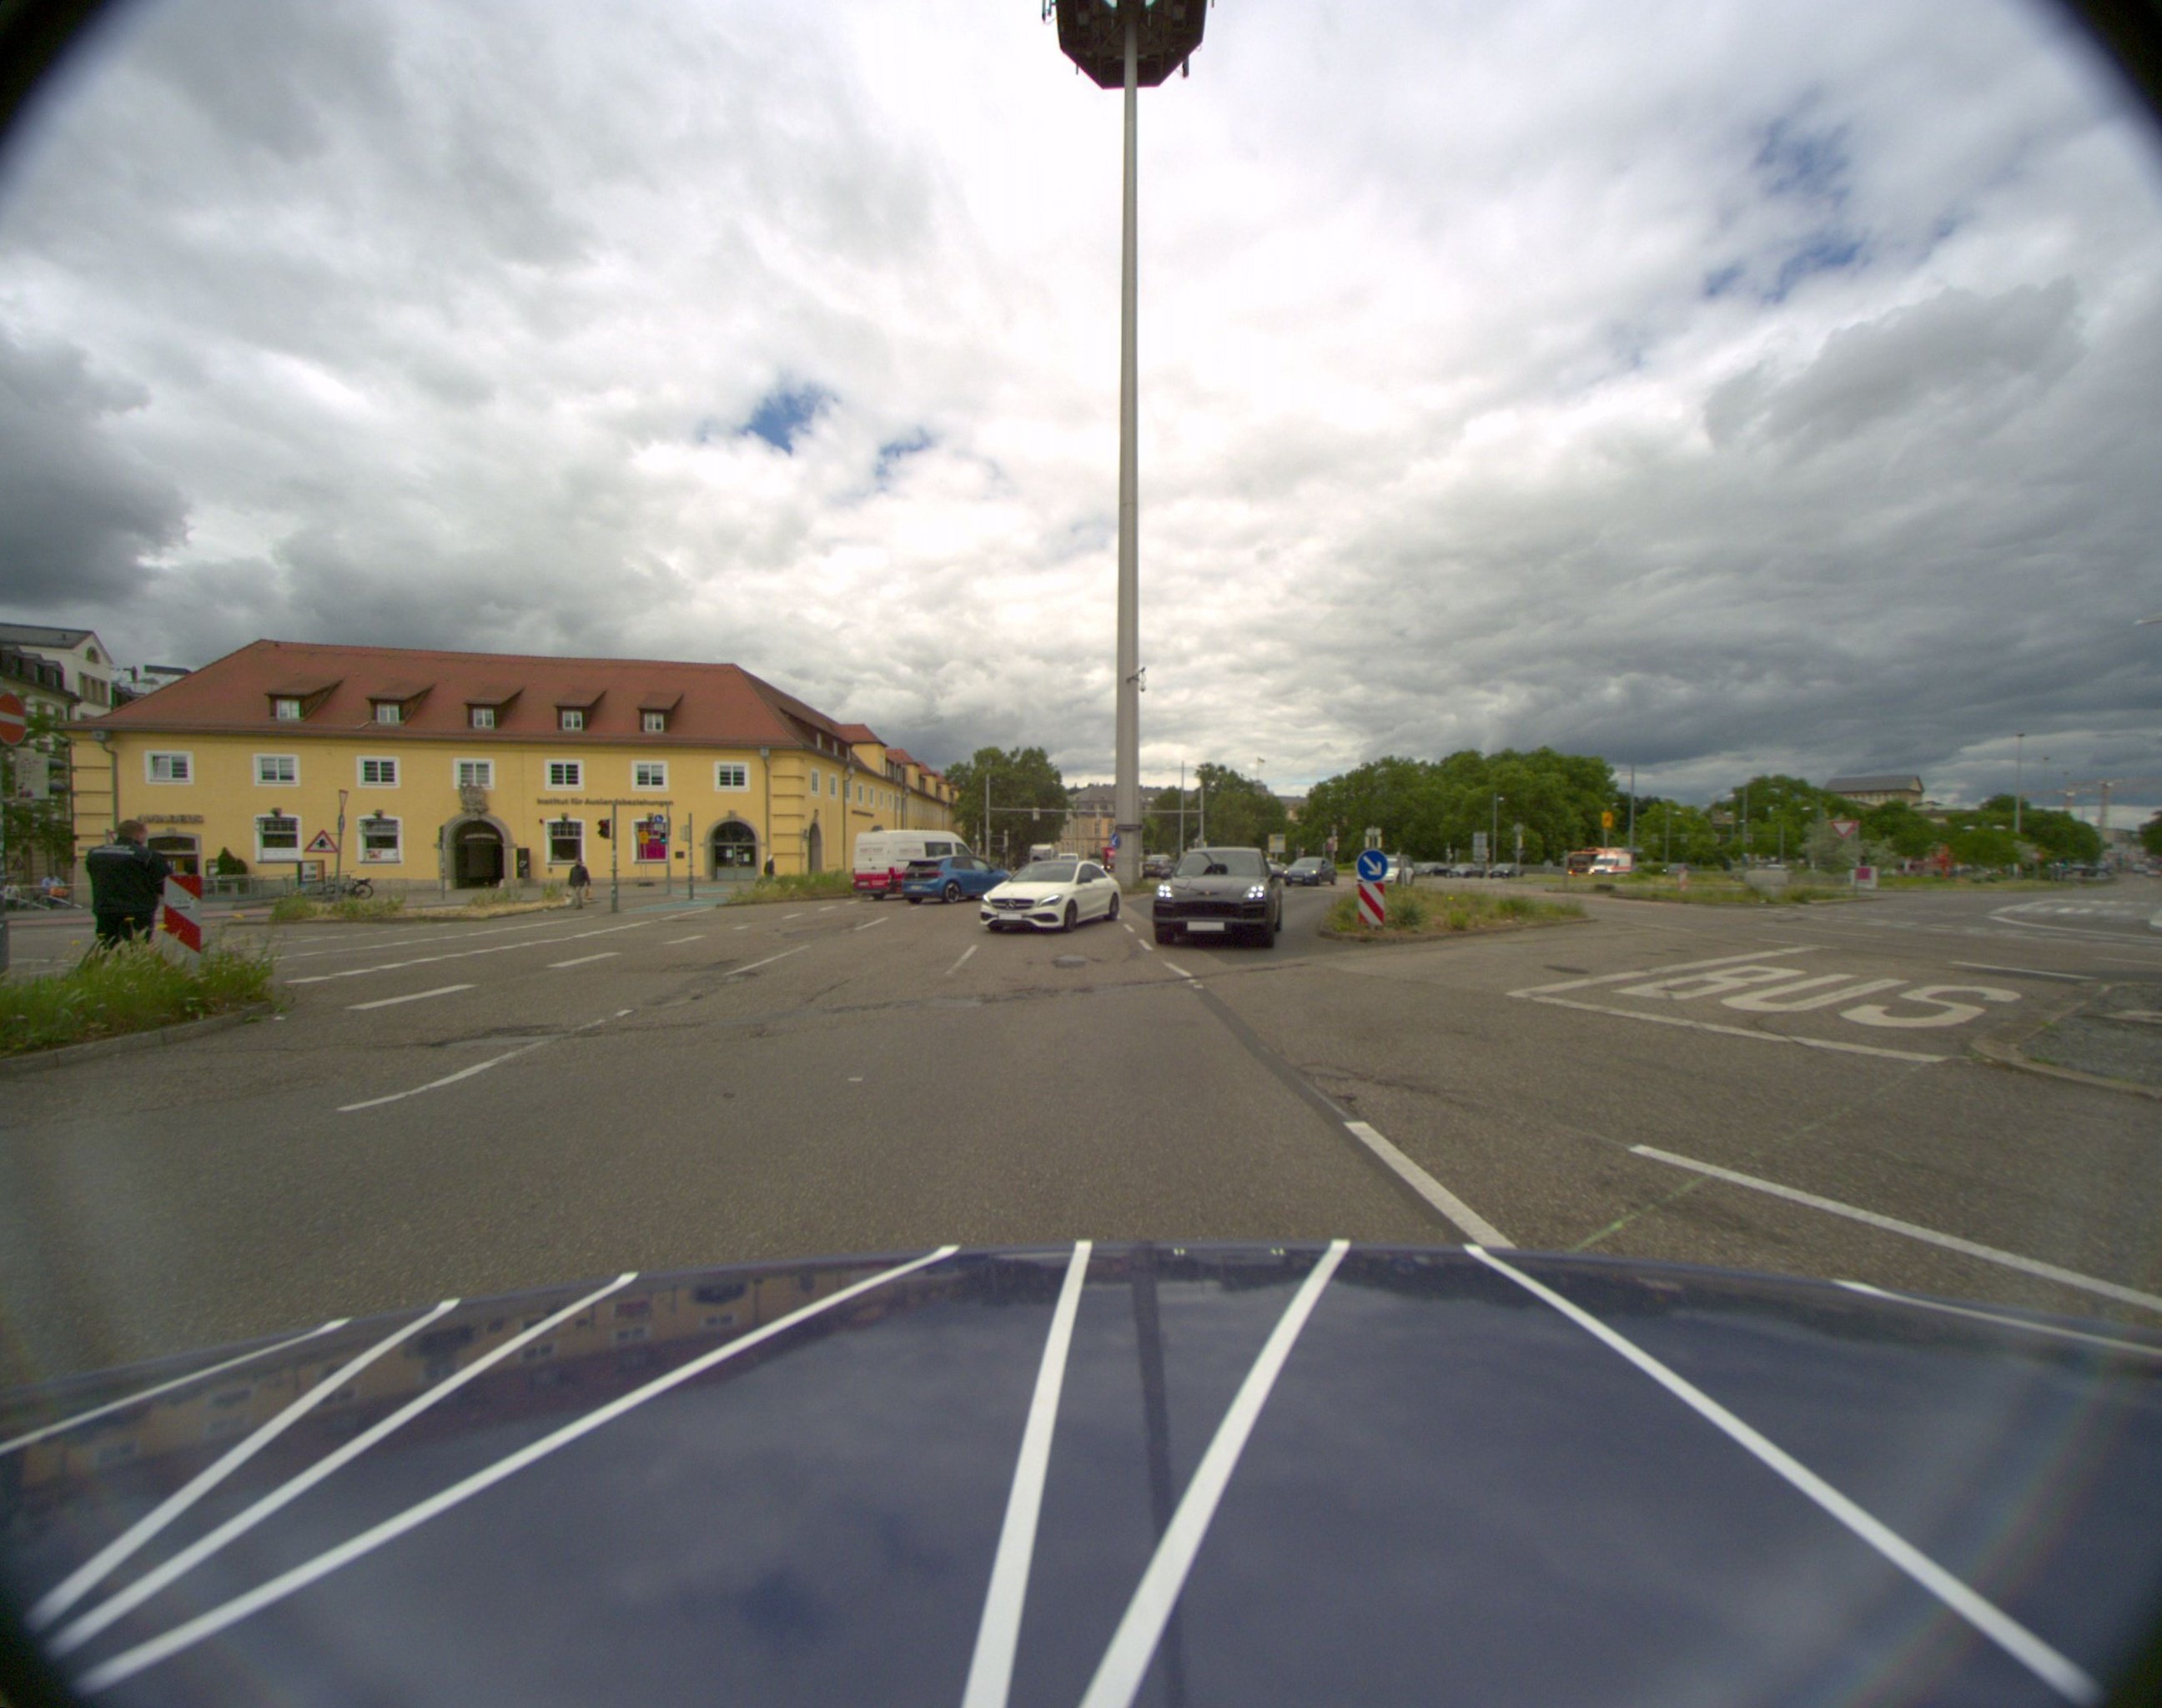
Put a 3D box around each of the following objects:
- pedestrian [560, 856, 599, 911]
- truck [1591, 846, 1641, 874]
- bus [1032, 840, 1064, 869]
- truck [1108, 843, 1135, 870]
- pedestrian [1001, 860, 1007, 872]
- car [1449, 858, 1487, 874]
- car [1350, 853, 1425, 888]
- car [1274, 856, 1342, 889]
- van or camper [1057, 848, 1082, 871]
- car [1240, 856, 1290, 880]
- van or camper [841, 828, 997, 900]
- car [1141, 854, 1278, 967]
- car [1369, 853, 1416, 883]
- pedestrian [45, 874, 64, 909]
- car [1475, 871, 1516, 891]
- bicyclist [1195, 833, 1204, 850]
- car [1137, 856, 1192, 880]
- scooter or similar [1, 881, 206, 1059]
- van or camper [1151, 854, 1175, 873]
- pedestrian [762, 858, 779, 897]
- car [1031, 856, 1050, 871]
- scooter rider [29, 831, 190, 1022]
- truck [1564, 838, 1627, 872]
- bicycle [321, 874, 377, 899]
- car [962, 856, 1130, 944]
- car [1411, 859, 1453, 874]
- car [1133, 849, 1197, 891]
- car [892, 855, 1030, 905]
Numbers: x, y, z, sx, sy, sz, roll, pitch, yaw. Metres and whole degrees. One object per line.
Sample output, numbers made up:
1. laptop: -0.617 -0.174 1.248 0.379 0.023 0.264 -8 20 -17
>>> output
1. pedestrian: -16.535 0.960 25.069 0.828 1.779 0.751 -1 1 -16
2. truck: 54.190 0.583 76.942 5.799 2.767 1.952 0 0 -32
3. bus: -4.106 0.107 90.703 3.434 3.185 13.057 0 0 -4
4. truck: 5.294 0.378 101.825 2.791 3.469 8.348 0 0 -3
5. pedestrian: -9.002 1.380 88.538 0.681 1.372 0.579 0 0 -5
6. car: 37.142 1.148 72.957 3.590 1.455 1.773 -1 1 -36
7. car: 15.127 0.774 37.365 2.091 1.599 4.421 -1 -1 41
8. car: 11.708 0.916 39.050 1.994 1.592 4.008 0 0 38
9. van or camper: -1.075 0.553 76.340 2.373 2.249 6.288 0 0 0
10. car: 13.066 0.977 53.667 1.994 1.496 5.049 -1 1 31
11. van or camper: -5.982 0.338 29.070 2.141 2.462 6.173 -1 0 32
12. car: 2.534 0.835 13.808 2.002 1.629 5.026 -1 0 15
13. car: 21.383 0.910 52.043 1.855 1.976 4.651 2 1 36
14. pedestrian: -47.164 1.732 34.902 0.552 1.581 0.493 0 1 36
15. car: 37.199 2.390 68.180 3.747 1.728 1.855 0 0 -37
16. bicyclist: 11.205 -1.187 71.988 0.722 1.630 0.504 1 0 -15
17. car: 5.373 0.865 48.355 1.754 1.325 4.421 -2 0 31
18. scooter or similar: -9.189 0.993 7.244 0.778 1.398 1.883 -2 1 -40
19. van or camper: 8.534 0.932 79.407 1.865 1.905 4.712 -1 0 -2
20. pedestrian: -15.296 1.160 37.402 0.640 1.884 0.557 0 1 -35
21. car: -3.997 0.889 75.112 1.828 1.400 3.999 0 0 -2
22. scooter rider: -9.193 0.638 7.234 0.768 1.684 0.744 -2 1 -40
23. truck: 56.557 0.125 83.371 9.196 3.595 2.721 0 0 -36
24. bicycle: -33.780 1.507 35.076 1.773 1.079 0.620 -1 1 -14
25. car: -0.556 0.846 16.329 1.867 1.560 4.659 -1 0 21
26. car: 31.955 1.139 69.137 3.862 1.266 1.773 -1 1 -36
27. car: 3.468 0.576 30.696 1.996 1.537 4.573 0 1 14
28. car: -3.893 0.829 25.457 1.944 1.474 4.637 -2 -1 33
